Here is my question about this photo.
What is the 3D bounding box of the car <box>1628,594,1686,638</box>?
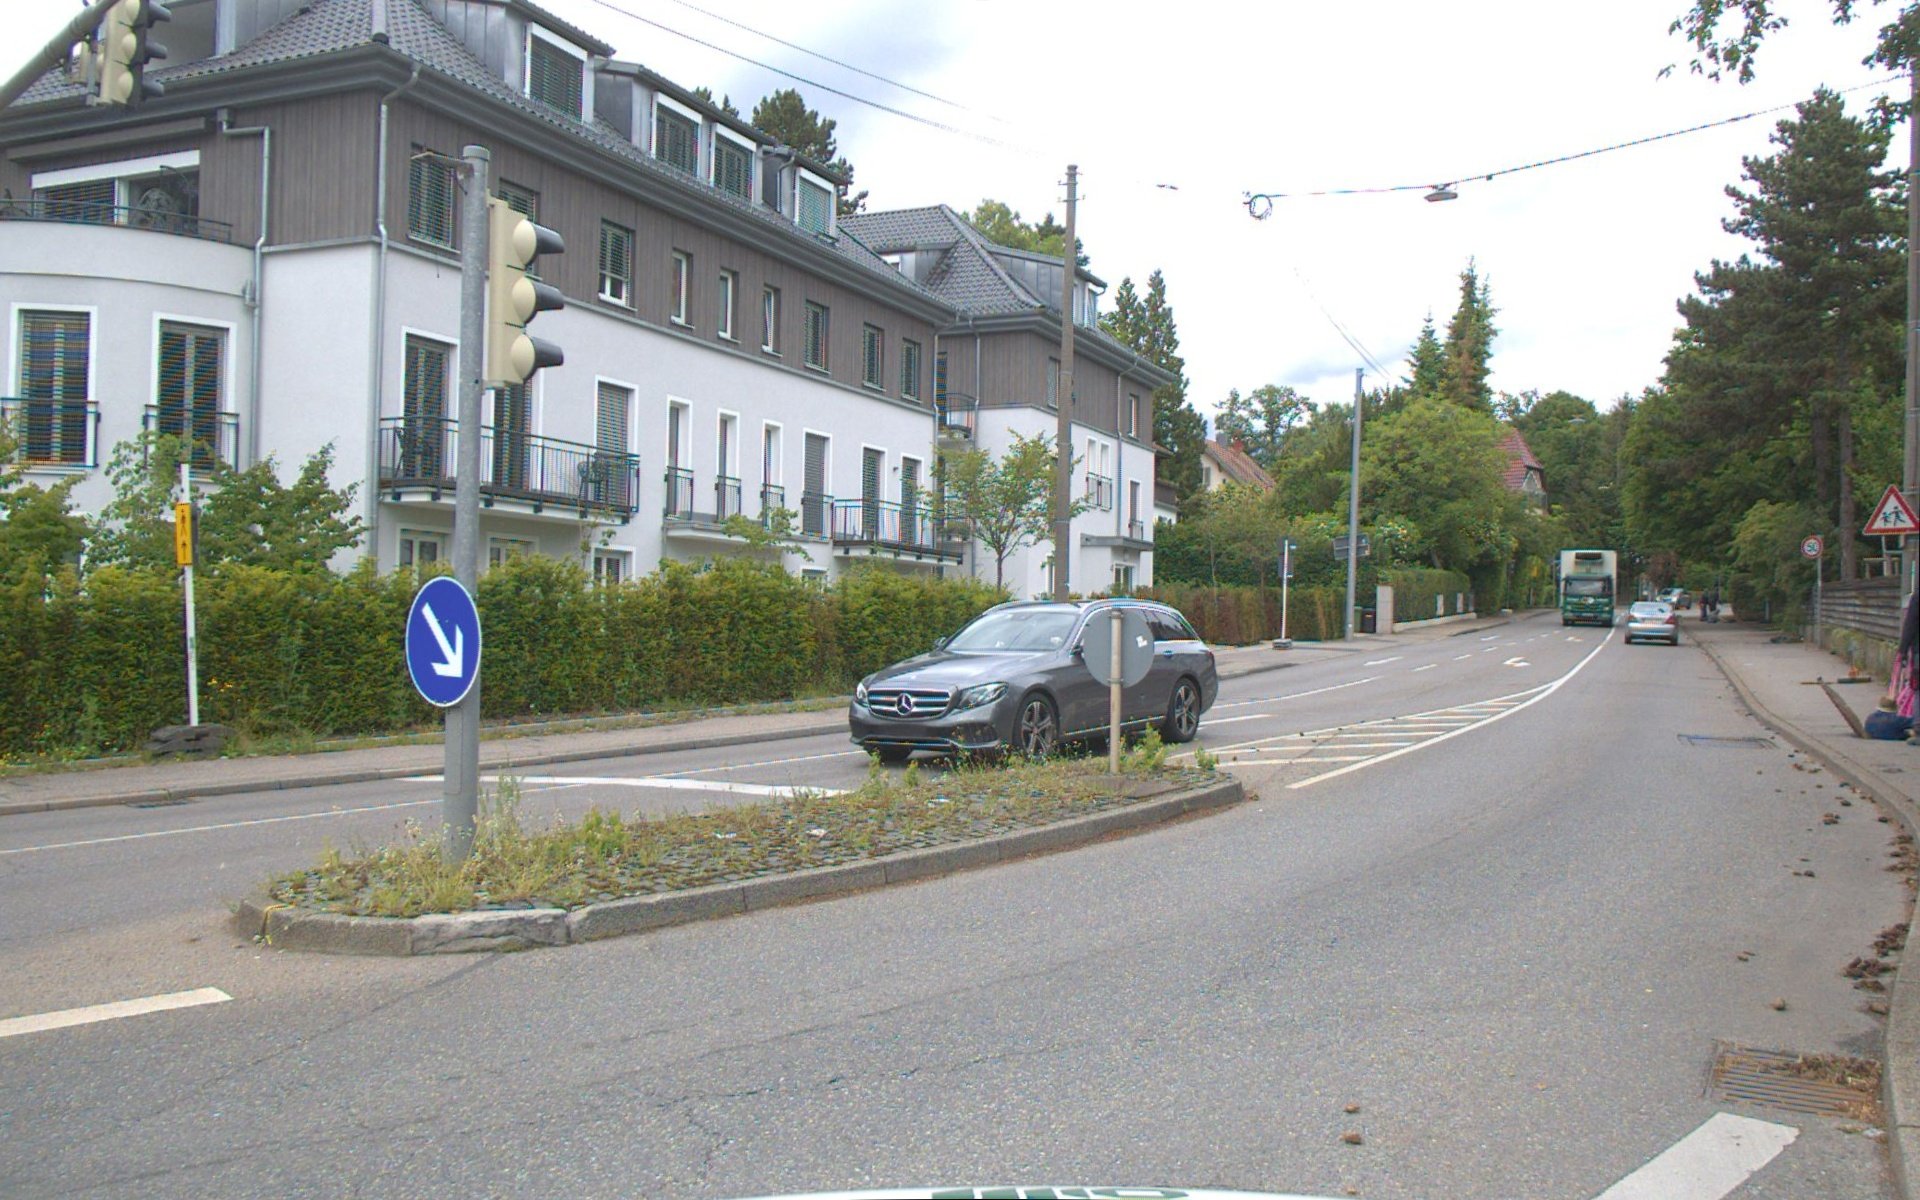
[{"bbox_3d":[23.727,0.557,56.343,1.760,1.440,4.334,0,-1,23],"label":"car"}]

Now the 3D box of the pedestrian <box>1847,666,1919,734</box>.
[{"bbox_3d":[10.311,1.098,18.313,0.634,0.709,0.582,0,0,-18],"label":"pedestrian"}]

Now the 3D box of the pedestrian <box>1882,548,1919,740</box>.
[{"bbox_3d":[10.225,0.450,17.219,0.828,1.957,0.802,0,0,4],"label":"pedestrian"}]

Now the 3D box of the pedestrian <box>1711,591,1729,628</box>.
[{"bbox_3d":[38.768,0.476,84.419,0.790,1.838,0.741,0,0,23],"label":"pedestrian"}]

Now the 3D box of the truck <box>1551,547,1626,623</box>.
[{"bbox_3d":[30.526,-0.682,80.590,2.719,3.522,7.498,0,-1,16],"label":"truck"}]

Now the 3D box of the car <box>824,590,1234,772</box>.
[{"bbox_3d":[0.862,0.681,16.460,1.794,1.511,4.730,-1,0,35],"label":"car"}]
